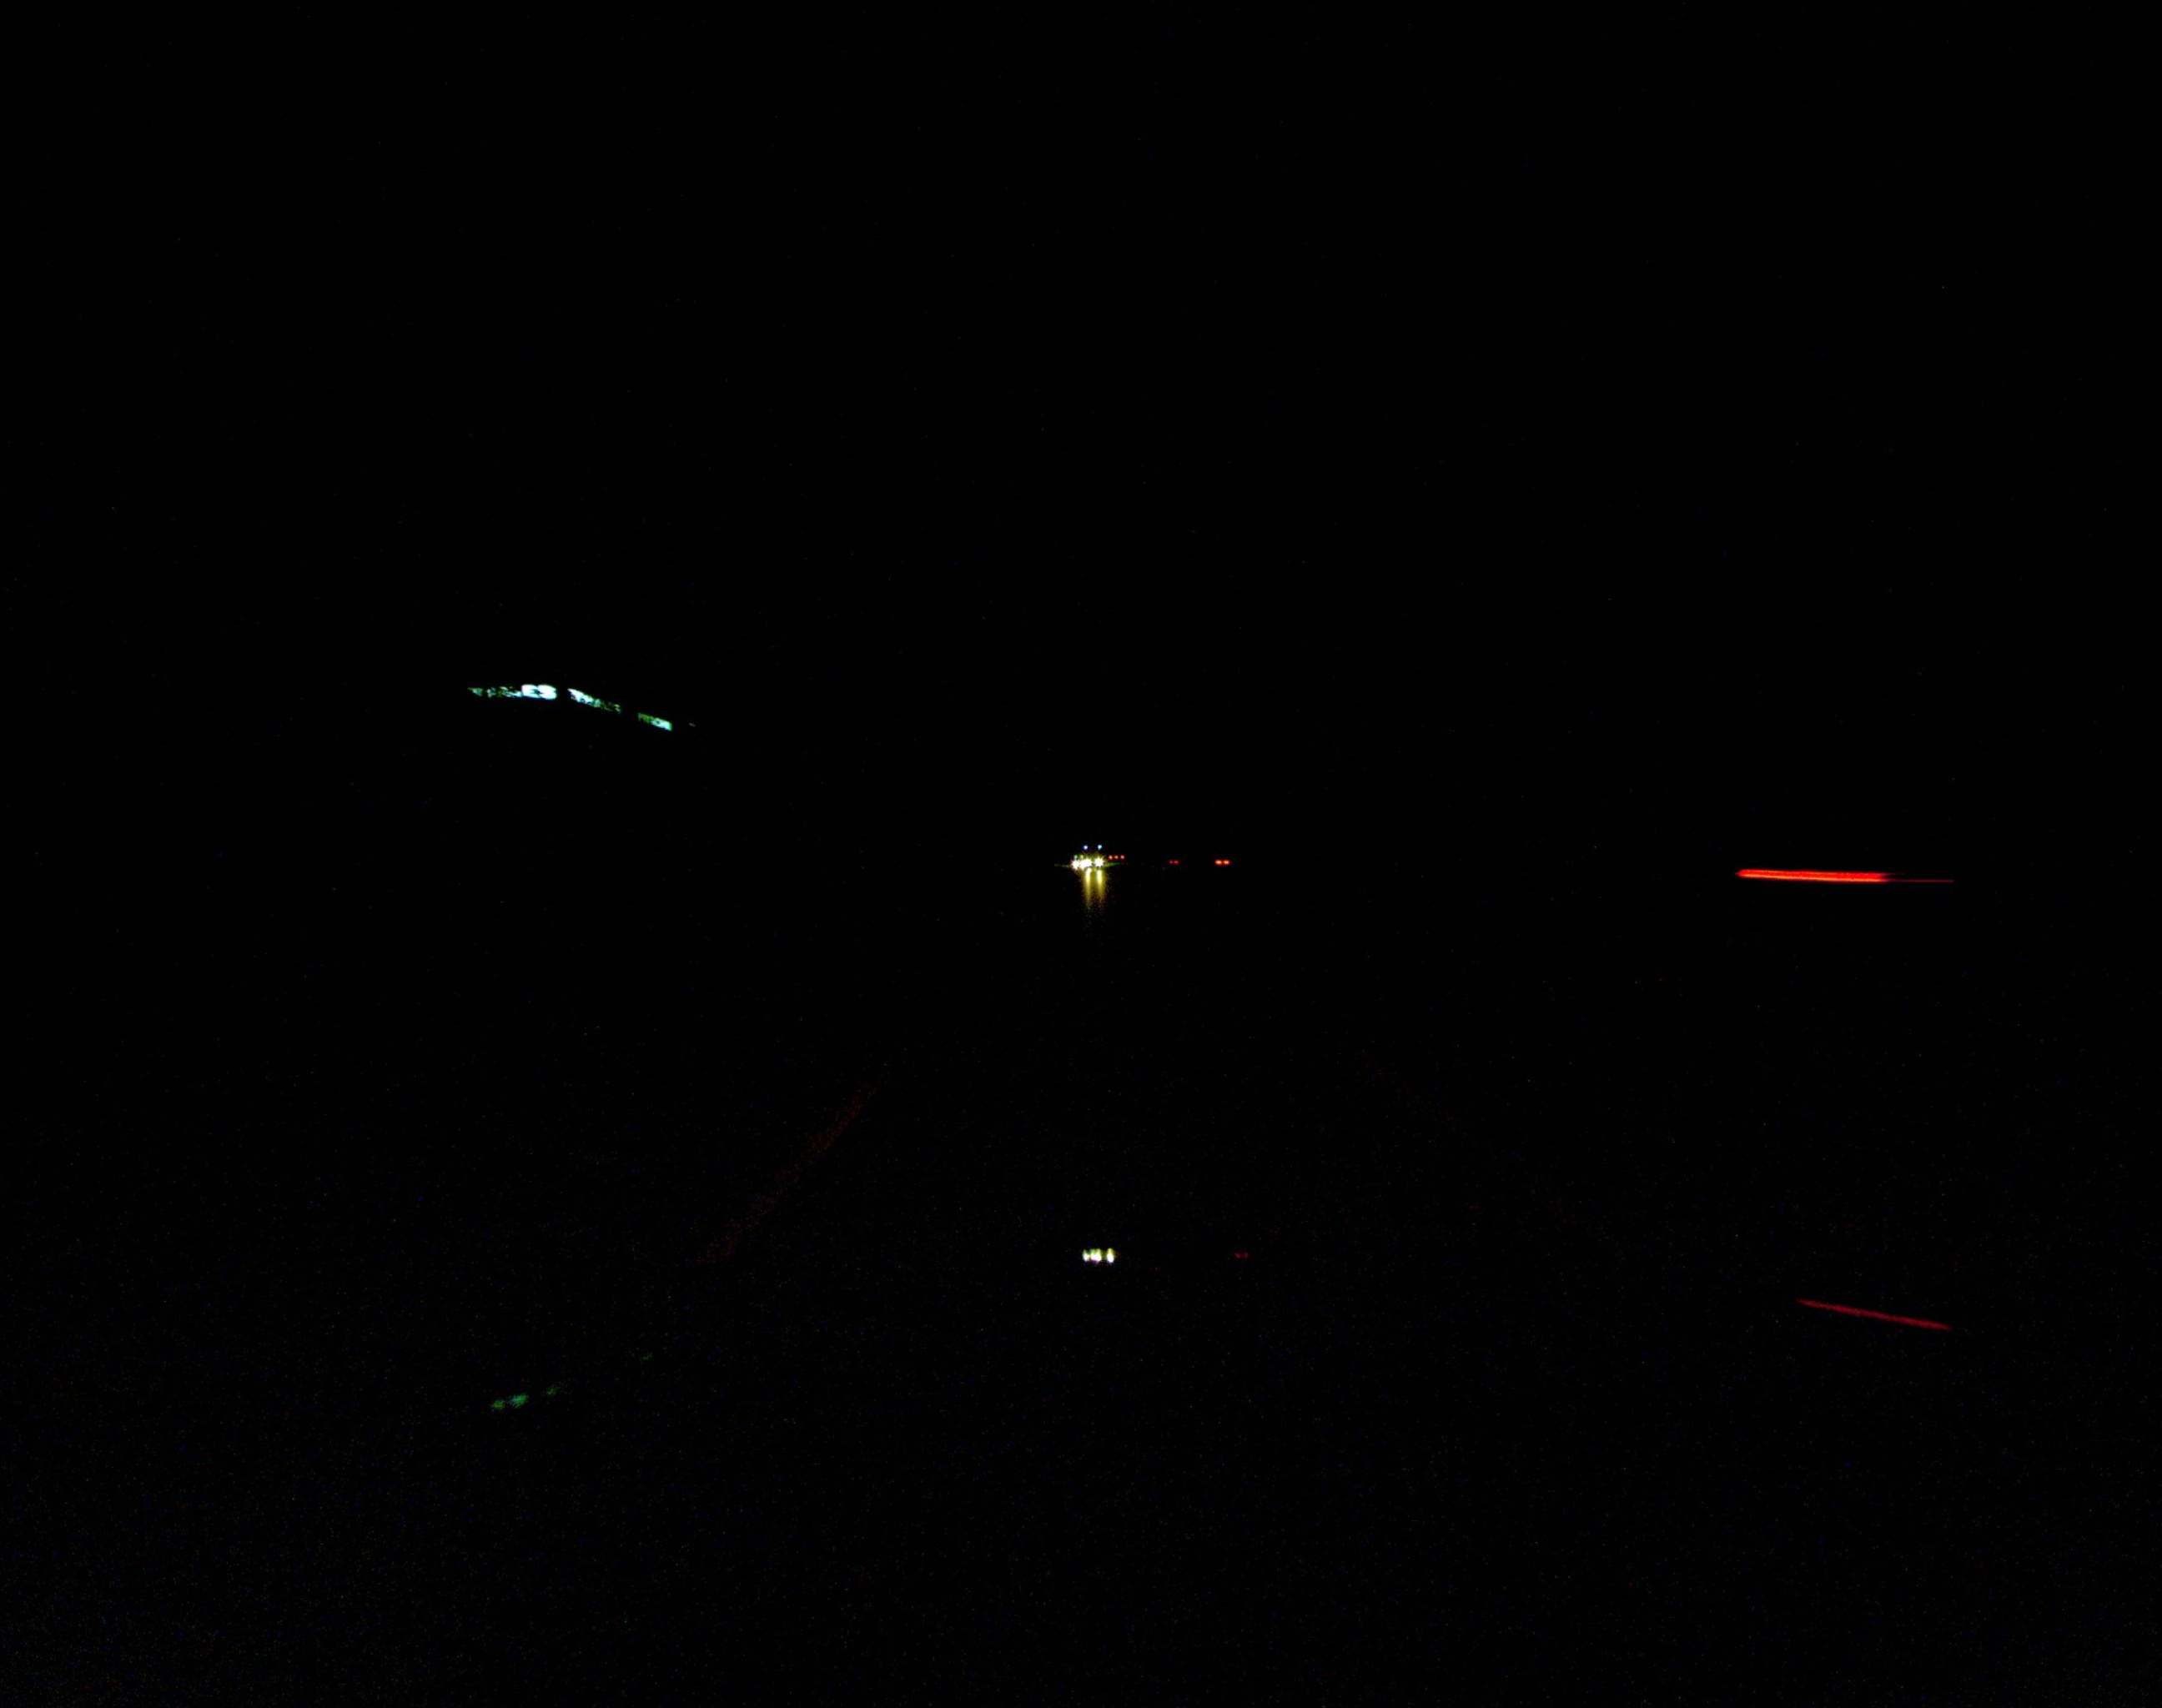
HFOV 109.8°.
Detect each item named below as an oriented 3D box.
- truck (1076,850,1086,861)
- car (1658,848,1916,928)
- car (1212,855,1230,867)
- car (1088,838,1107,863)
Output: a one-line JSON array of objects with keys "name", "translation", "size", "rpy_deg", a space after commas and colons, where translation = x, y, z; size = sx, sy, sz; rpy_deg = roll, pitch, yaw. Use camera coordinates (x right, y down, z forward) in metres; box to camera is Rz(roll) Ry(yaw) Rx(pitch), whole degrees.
[{"name": "truck", "translation": [-0.021, 0.508, 246.748], "size": [3.042, 3.726, 7.560], "rpy_deg": [-1, 0, 1]}, {"name": "car", "translation": [16.144, 0.698, 17.765], "size": [1.908, 1.608, 4.403], "rpy_deg": [-1, 0, -1]}, {"name": "car", "translation": [21.728, 0.996, 117.943], "size": [1.908, 1.625, 5.045], "rpy_deg": [-4, 1, 1]}, {"name": "car", "translation": [2.203, -0.469, 101.606], "size": [2.255, 3.205, 6.878], "rpy_deg": [-2, 0, 1]}]
